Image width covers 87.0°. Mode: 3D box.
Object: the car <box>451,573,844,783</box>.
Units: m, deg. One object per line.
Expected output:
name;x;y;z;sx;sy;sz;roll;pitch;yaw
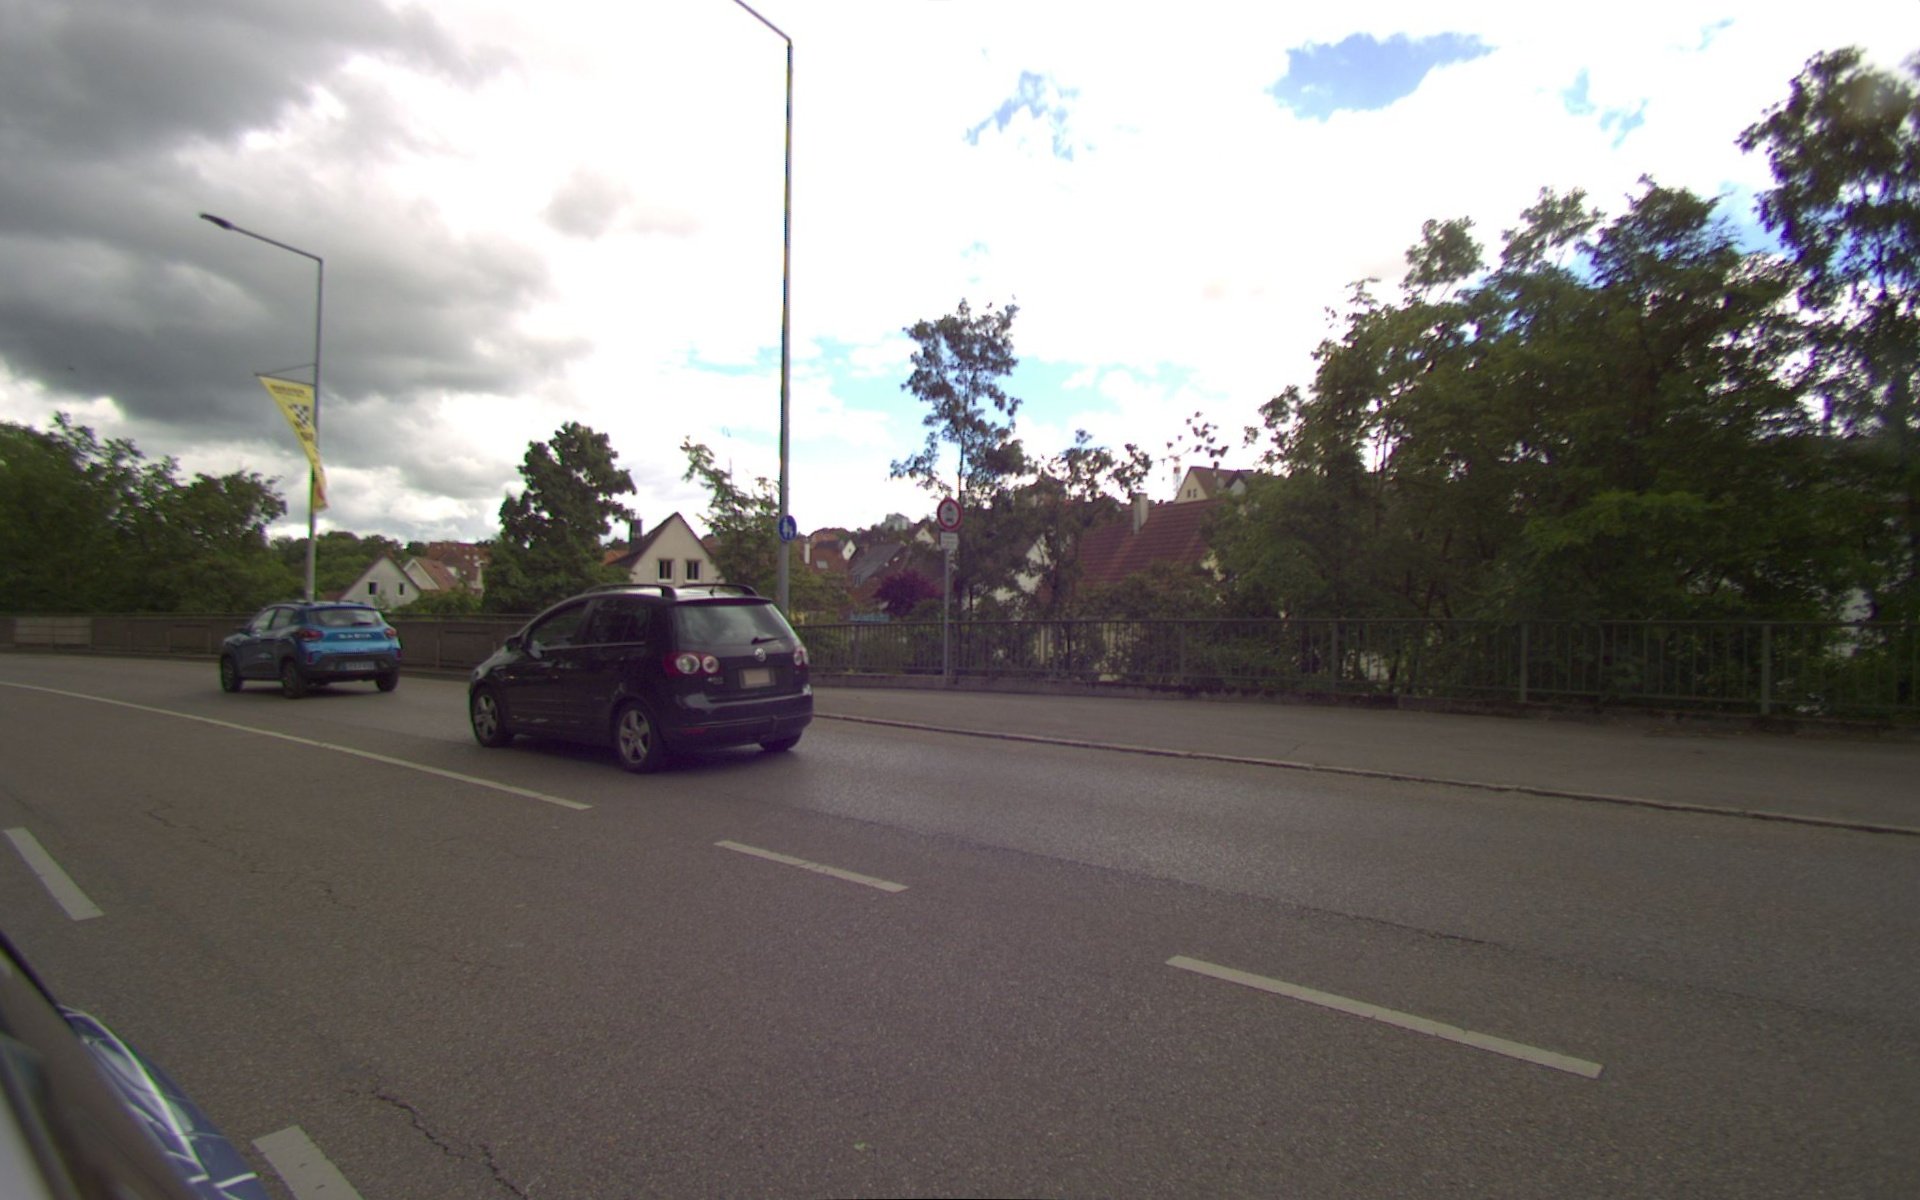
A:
car;-3.132;0.621;9.749;4.010;1.619;1.703;-1;-1;40

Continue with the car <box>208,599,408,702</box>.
car;-10.791;0.769;16.682;3.689;1.497;1.566;-1;1;37
